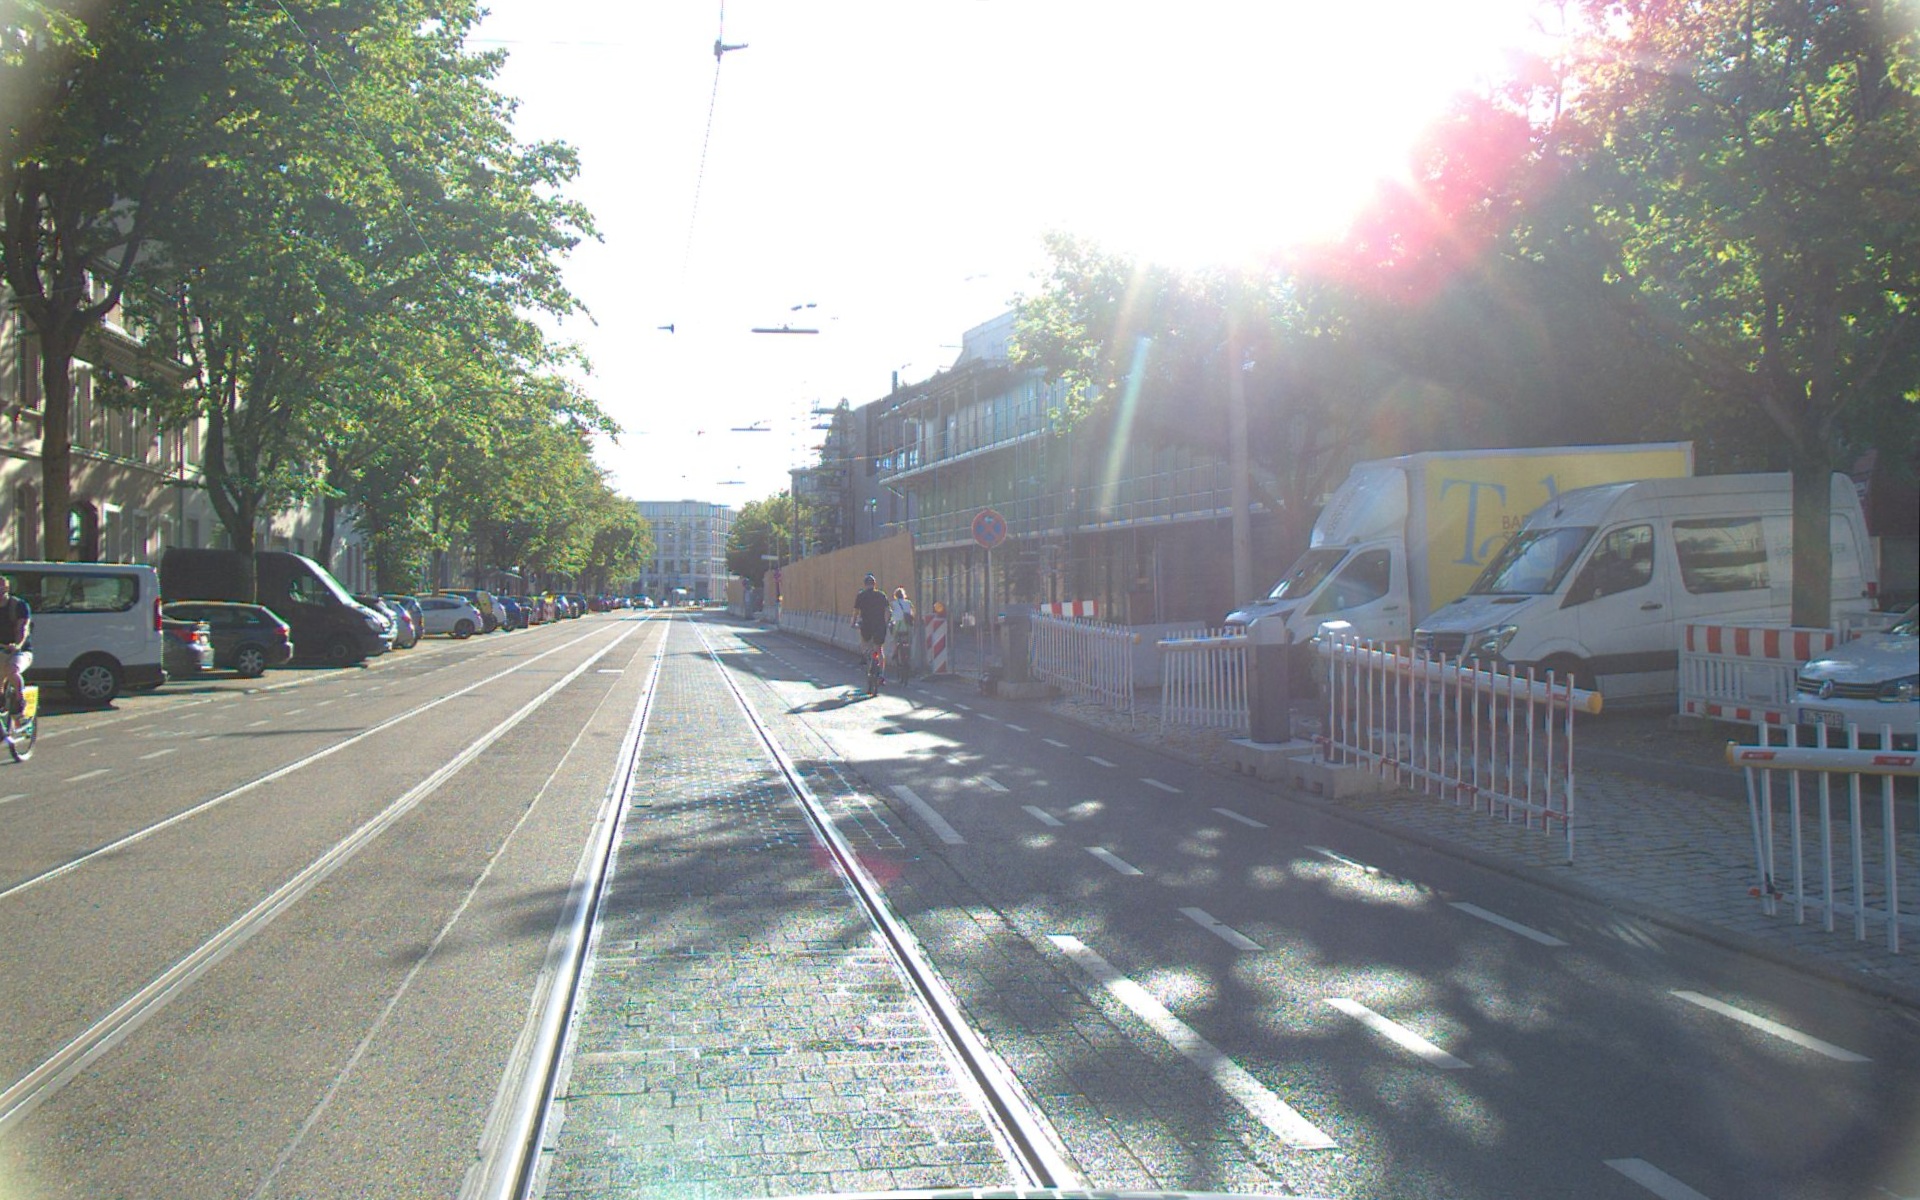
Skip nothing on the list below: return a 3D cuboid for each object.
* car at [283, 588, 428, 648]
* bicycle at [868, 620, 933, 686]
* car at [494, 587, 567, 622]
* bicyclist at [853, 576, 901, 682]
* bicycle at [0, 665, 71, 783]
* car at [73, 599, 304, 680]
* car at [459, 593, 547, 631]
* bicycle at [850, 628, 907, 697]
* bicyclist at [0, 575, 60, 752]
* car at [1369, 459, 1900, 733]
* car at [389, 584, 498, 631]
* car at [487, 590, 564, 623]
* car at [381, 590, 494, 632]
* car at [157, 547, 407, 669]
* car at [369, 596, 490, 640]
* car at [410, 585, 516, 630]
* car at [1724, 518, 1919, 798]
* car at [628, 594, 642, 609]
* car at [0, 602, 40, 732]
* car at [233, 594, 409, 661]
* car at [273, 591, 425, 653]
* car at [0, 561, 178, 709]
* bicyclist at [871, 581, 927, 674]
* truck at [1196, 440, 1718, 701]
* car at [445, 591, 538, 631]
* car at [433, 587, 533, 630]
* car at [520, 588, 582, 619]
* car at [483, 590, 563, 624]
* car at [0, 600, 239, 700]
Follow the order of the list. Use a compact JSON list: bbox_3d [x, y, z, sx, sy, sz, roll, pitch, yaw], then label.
[{"bbox_3d":[-18.632,0.560,51.157,4.022,1.636,1.820,3,-1,-17],"label":"car"},{"bbox_3d":[-1.107,0.950,30.192,0.876,1.112,2.425,1,0,-9],"label":"bicycle"},{"bbox_3d":[-27.265,0.293,105.045,4.047,2.090,1.808,3,-1,-32],"label":"car"},{"bbox_3d":[-1.353,0.455,26.769,0.668,1.687,0.810,0,0,-11],"label":"bicyclist"},{"bbox_3d":[-8.982,1.143,15.493,0.599,0.970,1.879,0,0,-11],"label":"bicycle"},{"bbox_3d":[-15.395,0.793,33.107,4.038,1.444,1.813,3,-1,-27],"label":"car"},{"bbox_3d":[-24.015,0.640,86.938,4.047,1.784,1.808,3,-1,-32],"label":"car"},{"bbox_3d":[-1.336,0.989,26.711,0.668,1.036,1.916,0,0,-11],"label":"bicycle"},{"bbox_3d":[-8.965,0.575,15.419,0.711,1.600,1.026,0,0,-11],"label":"bicyclist"},{"bbox_3d":[7.540,-0.093,18.628,5.272,2.574,1.993,-4,1,-13],"label":"car"},{"bbox_3d":[-21.677,0.322,69.451,4.047,1.784,1.808,3,-1,-32],"label":"car"},{"bbox_3d":[-25.753,0.370,98.044,4.047,1.784,1.808,3,-1,-32],"label":"car"},{"bbox_3d":[-21.128,0.450,66.948,4.044,1.478,1.810,3,-1,-30],"label":"car"},{"bbox_3d":[-16.025,0.214,39.404,5.092,2.623,2.238,3,-1,-14],"label":"car"},{"bbox_3d":[-20.014,0.664,62.411,4.044,1.478,1.810,3,-1,-30],"label":"car"},{"bbox_3d":[-21.665,0.318,72.124,4.047,1.784,1.808,3,-1,-32],"label":"car"},{"bbox_3d":[8.721,0.282,12.645,4.835,1.925,2.009,-3,1,-5],"label":"car"},{"bbox_3d":[-42.601,0.194,216.908,1.652,1.869,3.858,3,-1,-13],"label":"car"},{"bbox_3d":[-13.277,0.840,20.467,3.281,1.529,1.671,-1,3,-31],"label":"car"},{"bbox_3d":[-16.189,0.692,42.110,4.022,1.636,1.820,1,0,-17],"label":"car"},{"bbox_3d":[-17.918,0.652,48.714,4.022,1.636,1.820,3,-1,-17],"label":"car"},{"bbox_3d":[-13.974,0.475,23.119,5.284,2.026,2.015,-1,1,-34],"label":"car"},{"bbox_3d":[-1.120,0.490,30.334,0.876,1.668,1.098,1,0,-10],"label":"bicyclist"},{"bbox_3d":[7.221,-0.467,24.315,6.968,3.406,2.385,-2,1,-10],"label":"truck"},{"bbox_3d":[-23.300,0.553,82.307,4.047,1.784,1.808,3,-1,-32],"label":"car"},{"bbox_3d":[-21.882,0.377,75.949,4.047,1.784,1.808,3,-1,-32],"label":"car"},{"bbox_3d":[-30.128,0.269,121.942,4.047,2.090,1.808,3,-1,-32],"label":"car"},{"bbox_3d":[-25.052,0.390,94.780,4.047,1.784,1.808,3,-1,-32],"label":"car"},{"bbox_3d":[-14.060,0.800,26.930,4.024,1.444,1.819,3,-1,-18],"label":"car"}]
